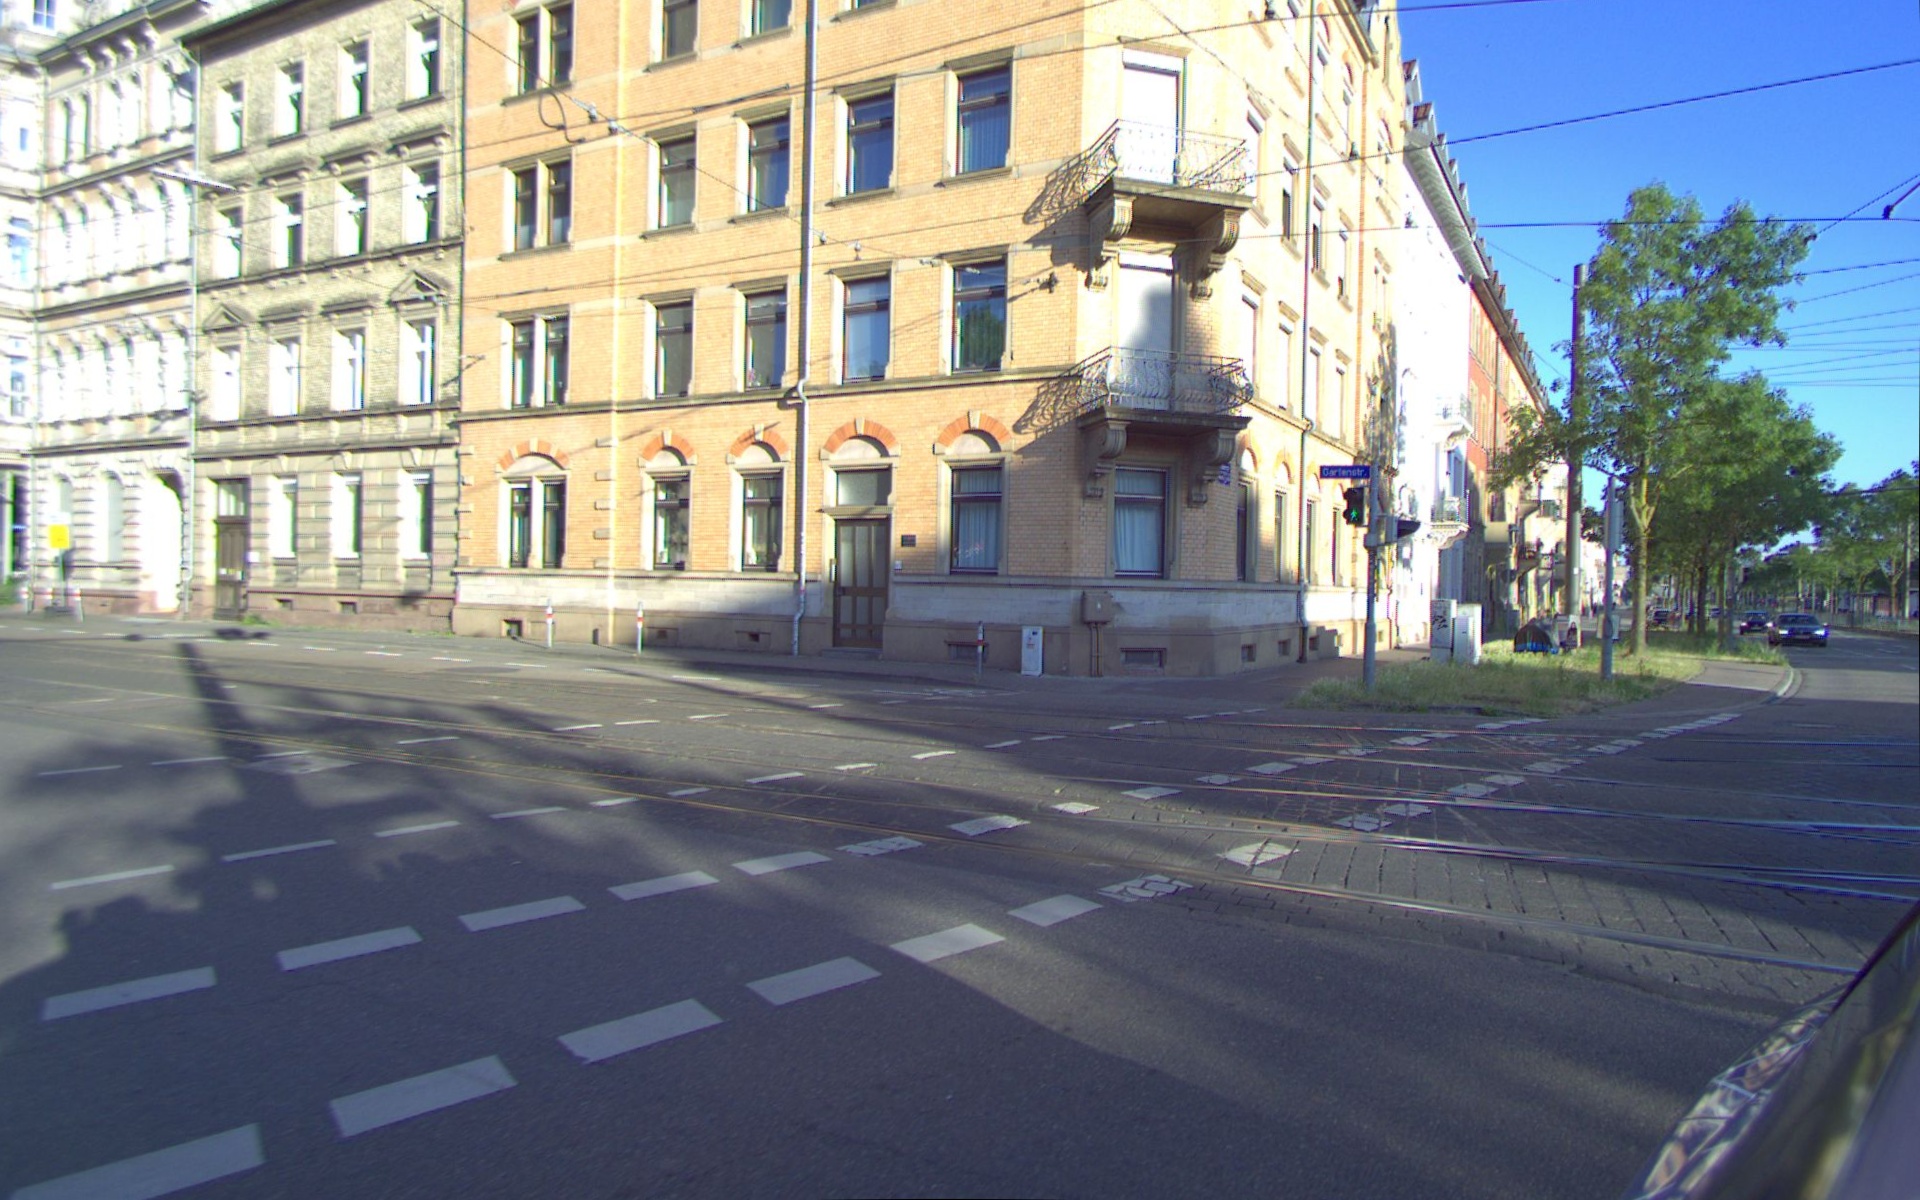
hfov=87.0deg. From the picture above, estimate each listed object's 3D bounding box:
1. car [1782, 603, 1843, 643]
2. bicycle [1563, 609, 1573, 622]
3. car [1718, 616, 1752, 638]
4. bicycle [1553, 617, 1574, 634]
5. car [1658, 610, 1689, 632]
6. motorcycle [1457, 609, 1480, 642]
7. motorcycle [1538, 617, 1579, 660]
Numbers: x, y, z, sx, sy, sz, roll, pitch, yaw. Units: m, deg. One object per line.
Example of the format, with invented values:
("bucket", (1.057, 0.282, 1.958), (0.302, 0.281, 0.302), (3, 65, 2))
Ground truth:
("car", (38.939, 1.006, 46.212), (1.992, 1.686, 3.939), (2, 1, 42))
("bicycle", (53.141, 1.364, 88.427), (0.570, 1.087, 1.873), (2, 1, 35))
("car", (65.483, 2.257, 85.528), (1.992, 1.686, 3.939), (2, 1, 42))
("bicycle", (36.612, 1.536, 61.366), (0.870, 0.927, 2.057), (3, 1, 36))
("car", (50.448, 1.496, 71.548), (1.698, 1.467, 4.233), (-2, -2, 35))
("motorcycle", (19.270, 0.952, 38.337), (0.551, 1.229, 2.048), (-1, 0, 33))
("motorcycle", (15.721, 1.000, 26.559), (0.604, 1.057, 1.718), (1, 0, 42))
